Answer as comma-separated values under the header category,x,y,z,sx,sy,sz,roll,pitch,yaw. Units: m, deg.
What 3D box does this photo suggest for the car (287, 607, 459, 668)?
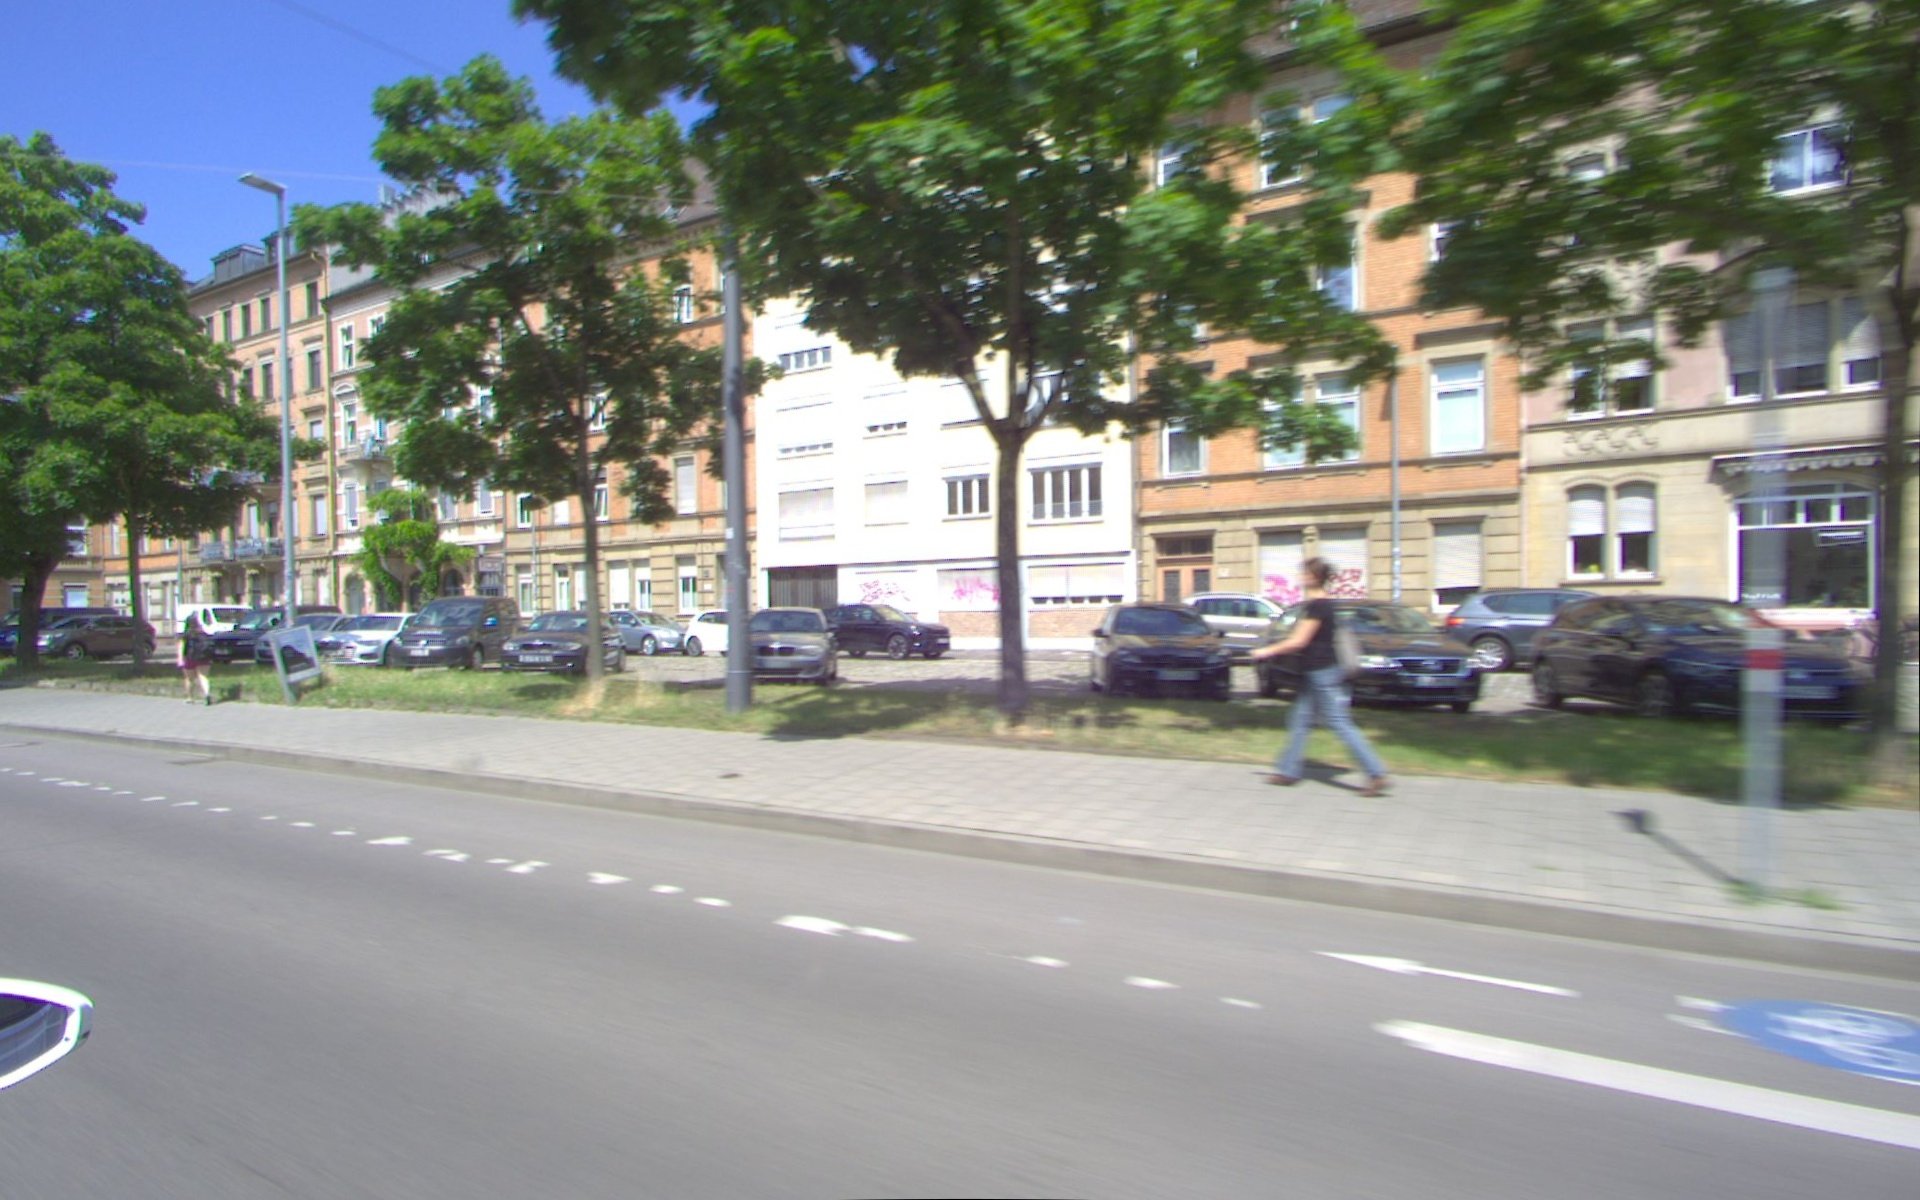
category,x,y,z,sx,sy,sz,roll,pitch,yaw
car,-14.918,0.960,25.799,1.816,1.398,4.696,-1,-2,-2

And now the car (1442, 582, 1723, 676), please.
category,x,y,z,sx,sy,sz,roll,pitch,yaw
car,11.992,0.599,19.515,4.436,1.636,1.827,-2,-2,35

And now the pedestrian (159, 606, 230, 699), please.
category,x,y,z,sx,sy,sz,roll,pitch,yaw
pedestrian,-13.639,0.924,17.843,0.892,1.613,0.699,-2,0,31

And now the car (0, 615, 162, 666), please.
category,x,y,z,sx,sy,sz,roll,pitch,yaw
car,-31.058,1.421,35.568,1.879,1.677,4.176,-1,-2,5

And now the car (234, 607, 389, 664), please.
category,x,y,z,sx,sy,sz,roll,pitch,yaw
car,-17.767,0.977,27.686,1.816,1.423,4.087,-1,-2,-3

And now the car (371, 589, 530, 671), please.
category,x,y,z,sx,sy,sz,roll,pitch,yaw
car,-11.968,0.726,23.869,1.816,1.763,4.367,-1,-2,-4

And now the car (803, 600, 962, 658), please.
category,x,y,z,sx,sy,sz,roll,pitch,yaw
car,-2.199,0.831,27.976,4.167,1.510,1.829,-2,-2,32

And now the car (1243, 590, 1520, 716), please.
category,x,y,z,sx,sy,sz,roll,pitch,yaw
car,5.332,0.667,13.328,1.923,1.398,4.002,-1,-2,-1

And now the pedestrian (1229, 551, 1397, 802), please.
category,x,y,z,sx,sy,sz,roll,pitch,yaw
pedestrian,2.620,0.525,7.417,1.029,1.728,0.699,-1,2,31

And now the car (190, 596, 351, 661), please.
category,x,y,z,sx,sy,sz,roll,pitch,yaw
car,-20.190,0.851,29.557,1.816,1.763,4.152,-1,-2,1

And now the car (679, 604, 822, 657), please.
category,x,y,z,sx,sy,sz,roll,pitch,yaw
car,-6.360,0.946,30.267,4.167,1.510,1.829,-2,-2,32

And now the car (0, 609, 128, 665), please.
category,x,y,z,sx,sy,sz,roll,pitch,yaw
car,-33.627,1.373,37.016,1.879,1.952,4.632,-1,-2,1

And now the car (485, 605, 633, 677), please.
category,x,y,z,sx,sy,sz,roll,pitch,yaw
car,-8.635,0.889,21.966,1.816,1.398,4.271,-1,-2,-4

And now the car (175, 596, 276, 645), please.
category,x,y,z,sx,sy,sz,roll,pitch,yaw
car,-35.144,1.029,47.894,5.318,2.206,2.107,-2,-2,32

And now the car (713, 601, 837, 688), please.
category,x,y,z,sx,sy,sz,roll,pitch,yaw
car,-3.319,0.811,18.700,1.816,1.398,4.271,-1,-2,-4

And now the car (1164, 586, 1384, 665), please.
category,x,y,z,sx,sy,sz,roll,pitch,yaw
car,7.056,0.621,22.674,4.432,1.636,1.829,-2,-2,32

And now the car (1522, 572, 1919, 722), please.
category,x,y,z,sx,sy,sz,roll,pitch,yaw
car,8.183,0.516,11.297,1.924,1.371,4.000,-1,-2,9

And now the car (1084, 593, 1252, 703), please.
category,x,y,z,sx,sy,sz,roll,pitch,yaw
car,2.951,0.697,15.059,1.923,1.398,4.002,-1,-2,4

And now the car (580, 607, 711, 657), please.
category,x,y,z,sx,sy,sz,roll,pitch,yaw
car,-10.299,1.072,32.702,4.167,1.510,1.829,-2,-2,32
